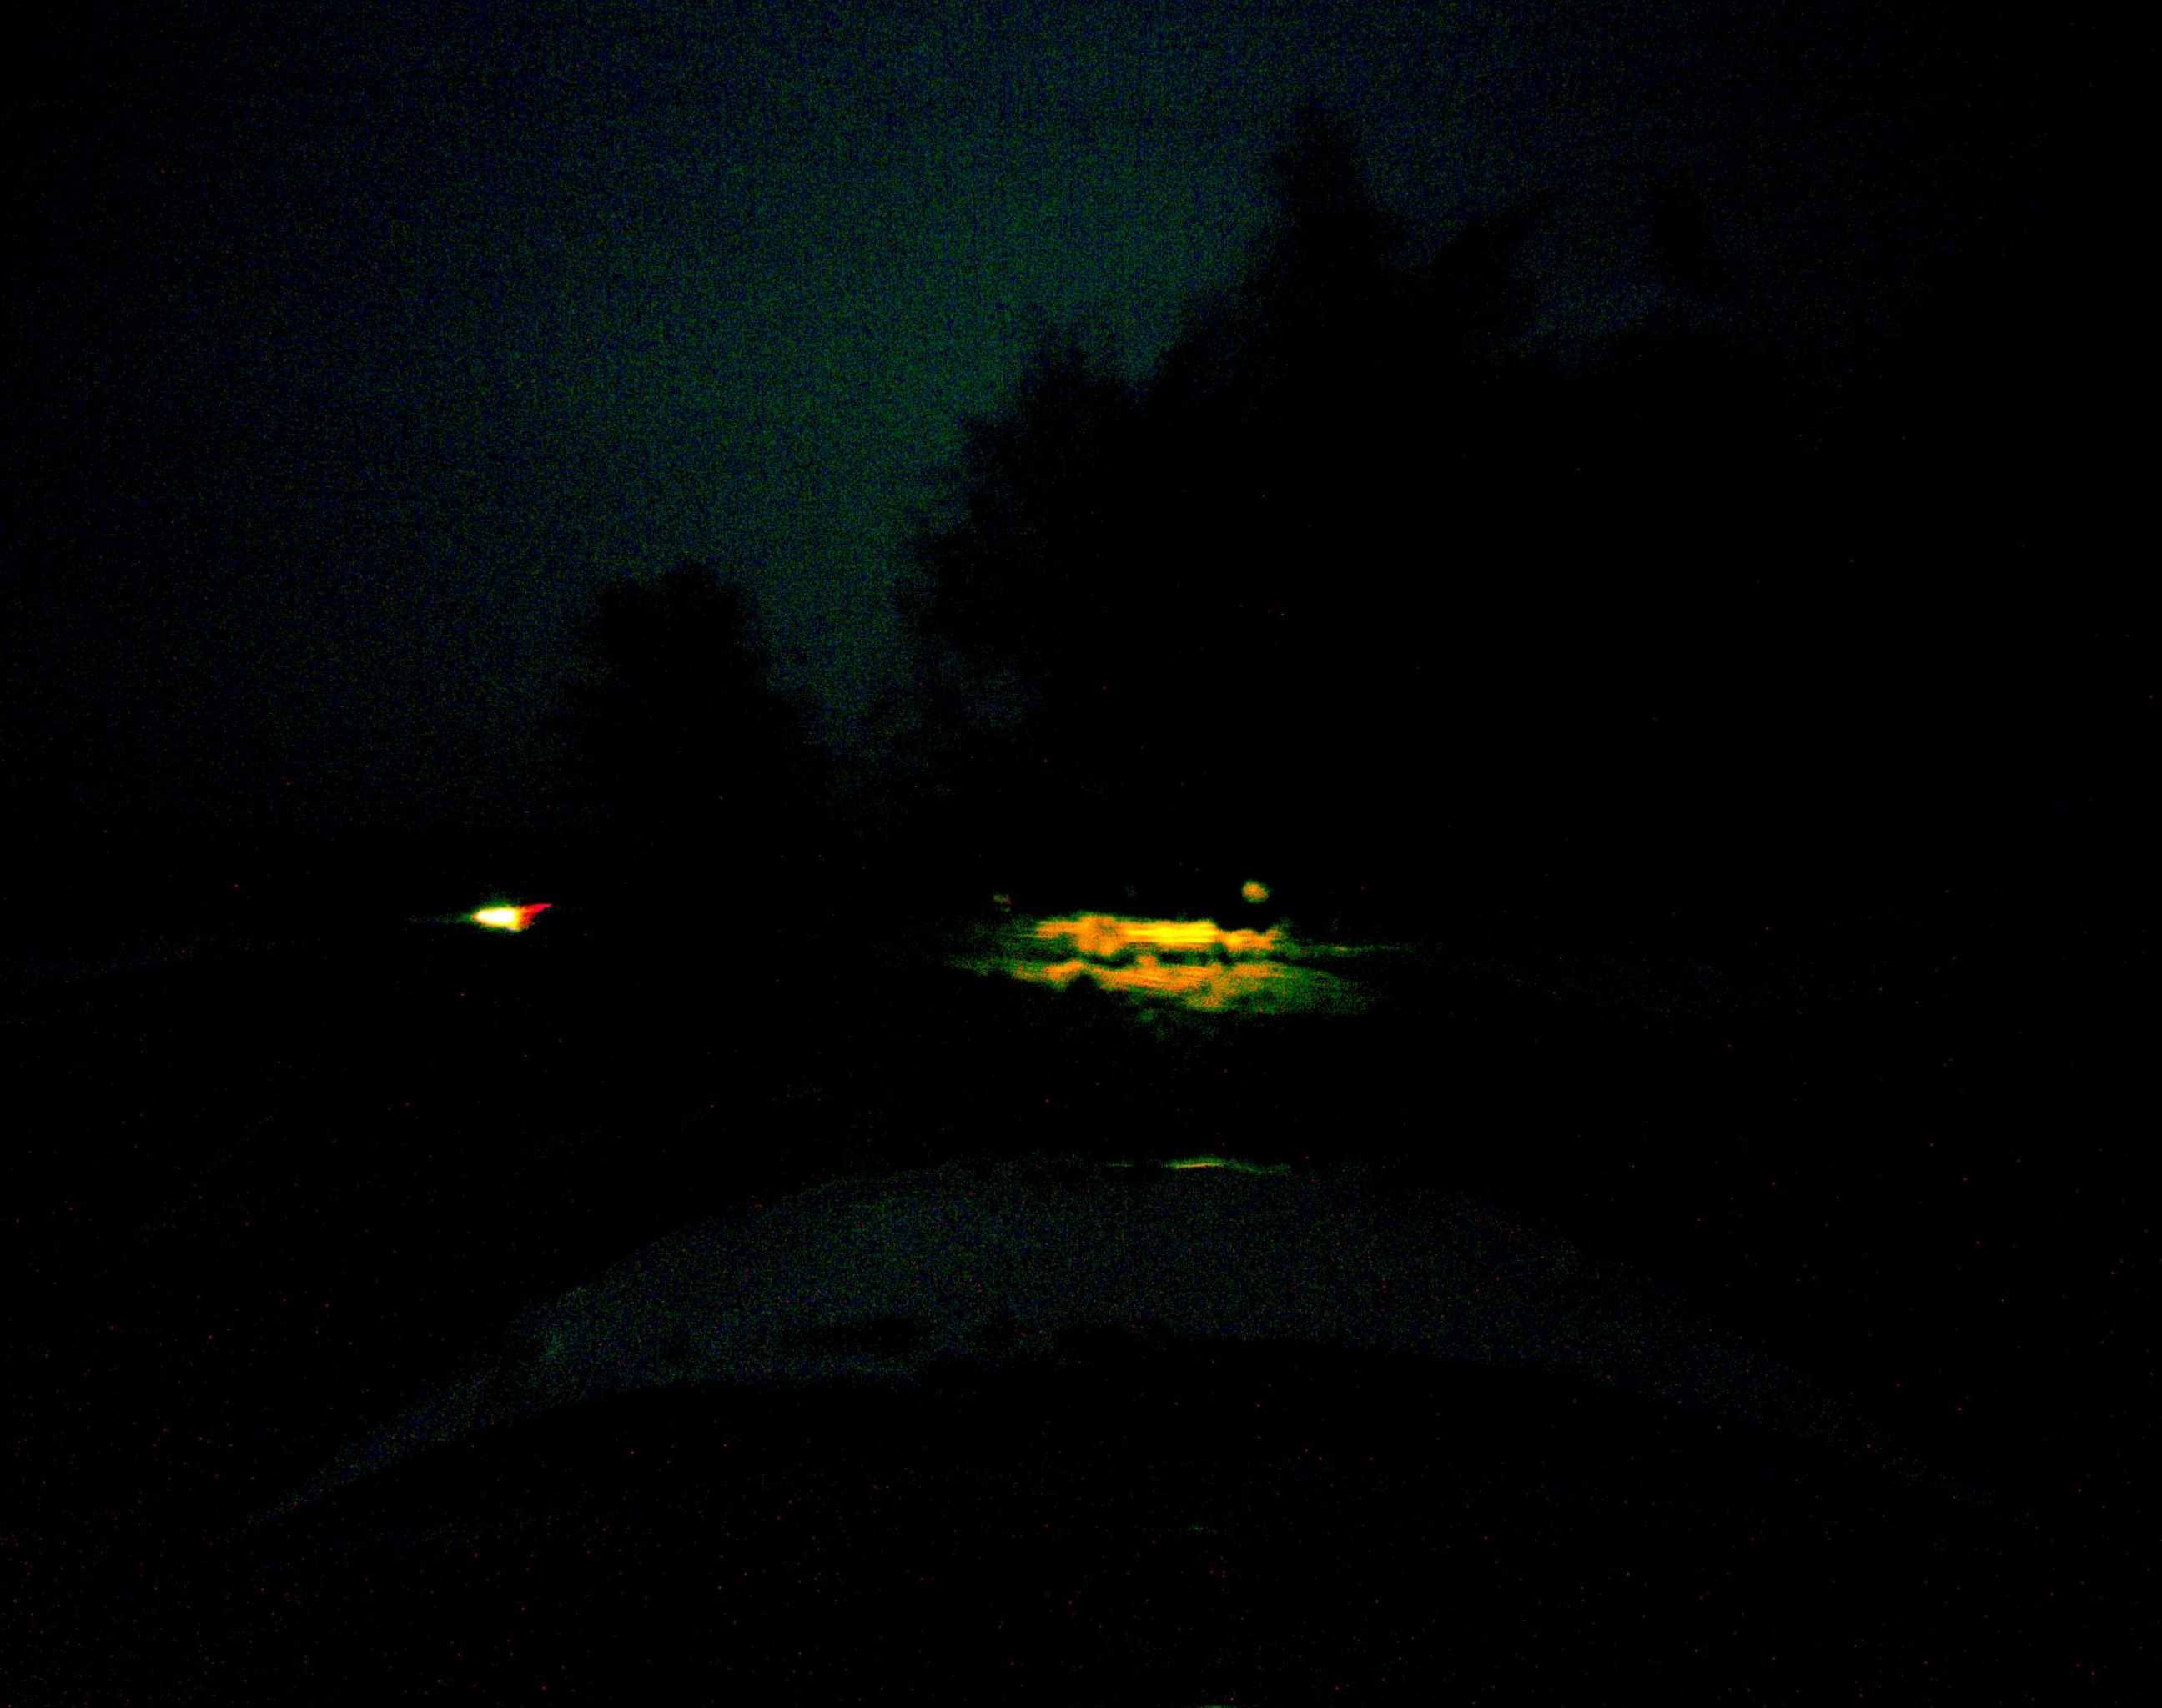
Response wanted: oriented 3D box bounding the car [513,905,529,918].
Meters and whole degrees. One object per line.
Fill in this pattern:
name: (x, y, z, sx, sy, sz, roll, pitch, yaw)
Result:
car: (-76.706, 7.821, 111.521, 1.704, 1.552, 3.814, -1, -2, -34)
